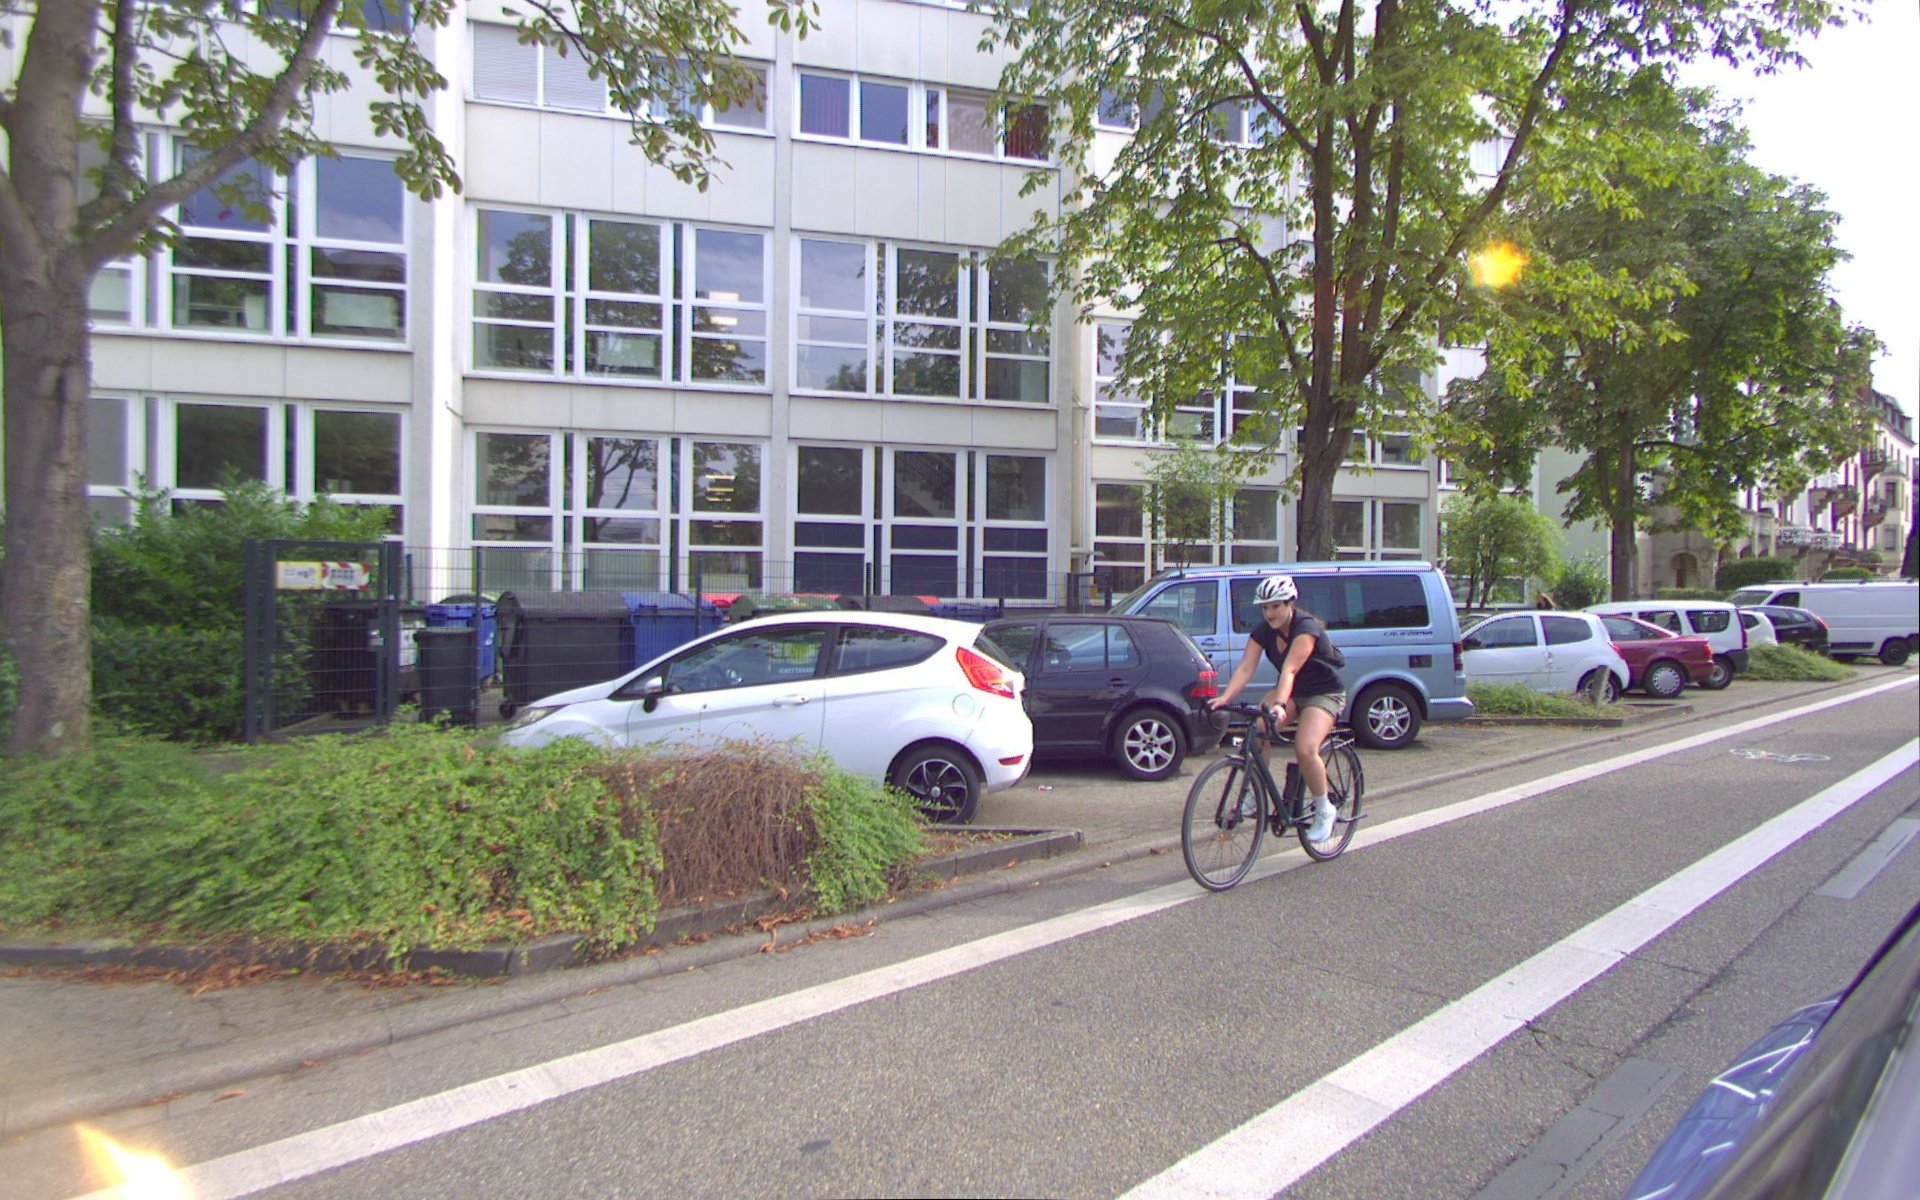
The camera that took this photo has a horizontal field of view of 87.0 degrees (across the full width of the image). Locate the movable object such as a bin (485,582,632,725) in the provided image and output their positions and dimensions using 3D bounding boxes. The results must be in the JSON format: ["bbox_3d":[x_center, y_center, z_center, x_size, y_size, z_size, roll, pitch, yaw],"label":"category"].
[{"bbox_3d":[-4.598,0.574,11.599,1.310,1.527,1.071,1,-1,-39],"label":"movable object such as a bin"}]

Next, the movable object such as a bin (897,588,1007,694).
[{"bbox_3d":[-0.124,0.597,15.378,1.299,1.527,1.071,1,-1,-39],"label":"movable object such as a bin"}]

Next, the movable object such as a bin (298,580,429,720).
[{"bbox_3d":[-6.927,0.554,11.829,1.056,1.542,1.121,0,-1,-16],"label":"movable object such as a bin"}]

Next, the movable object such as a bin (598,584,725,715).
[{"bbox_3d":[-3.705,0.580,12.559,1.192,1.527,1.071,1,-1,-39],"label":"movable object such as a bin"}]

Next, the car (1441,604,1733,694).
[{"bbox_3d":[10.704,0.808,17.544,3.909,1.451,1.685,0,0,8],"label":"car"}]

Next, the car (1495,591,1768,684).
[{"bbox_3d":[12.791,0.681,19.489,4.036,1.689,1.687,0,0,5],"label":"car"}]

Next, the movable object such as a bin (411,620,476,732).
[{"bbox_3d":[-5.406,0.772,10.583,0.561,1.117,0.653,0,-1,-31],"label":"movable object such as a bin"}]

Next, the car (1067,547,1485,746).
[{"bbox_3d":[3.349,0.476,11.478,4.201,2.040,1.829,0,0,6],"label":"car"}]

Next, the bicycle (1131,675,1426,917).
[{"bbox_3d":[1.845,0.983,5.652,2.036,0.993,0.639,0,0,-43],"label":"bicycle"}]

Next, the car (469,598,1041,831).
[{"bbox_3d":[-1.324,0.733,7.374,3.759,1.478,1.639,0,0,4],"label":"car"}]

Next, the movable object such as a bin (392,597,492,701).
[{"bbox_3d":[-7.210,0.654,14.144,1.056,1.385,1.037,0,-1,-16],"label":"movable object such as a bin"}]

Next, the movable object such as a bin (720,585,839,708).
[{"bbox_3d":[-2.400,0.585,13.420,1.192,1.527,1.071,1,-1,-39],"label":"movable object such as a bin"}]

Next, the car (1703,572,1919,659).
[{"bbox_3d":[24.170,0.416,28.301,4.875,2.319,2.380,0,0,8],"label":"car"}]

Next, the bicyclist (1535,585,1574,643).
[{"bbox_3d":[15.871,0.362,27.010,0.787,1.488,0.648,1,2,-42],"label":"bicyclist"}]

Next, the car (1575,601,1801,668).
[{"bbox_3d":[17.213,0.791,24.091,4.020,1.530,1.687,0,0,6],"label":"car"}]

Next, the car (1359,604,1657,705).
[{"bbox_3d":[8.350,0.797,15.698,3.651,1.451,1.687,0,0,6],"label":"car"}]

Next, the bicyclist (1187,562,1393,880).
[{"bbox_3d":[1.863,0.605,5.670,1.091,1.590,0.639,1,0,-42],"label":"bicyclist"}]

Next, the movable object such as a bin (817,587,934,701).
[{"bbox_3d":[-1.206,0.591,14.424,1.299,1.527,1.071,1,-1,-39],"label":"movable object such as a bin"}]

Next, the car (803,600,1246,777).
[{"bbox_3d":[0.562,0.746,9.455,3.759,1.478,1.675,0,0,4],"label":"car"}]

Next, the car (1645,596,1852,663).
[{"bbox_3d":[20.264,0.732,26.155,3.891,1.669,1.687,0,0,6],"label":"car"}]

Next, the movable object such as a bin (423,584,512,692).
[{"bbox_3d":[-7.501,0.566,15.472,1.056,1.582,1.037,0,-1,-16],"label":"movable object such as a bin"}]

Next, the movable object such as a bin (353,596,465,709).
[{"bbox_3d":[-7.069,0.645,13.049,1.056,1.385,1.037,0,-1,-16],"label":"movable object such as a bin"}]
